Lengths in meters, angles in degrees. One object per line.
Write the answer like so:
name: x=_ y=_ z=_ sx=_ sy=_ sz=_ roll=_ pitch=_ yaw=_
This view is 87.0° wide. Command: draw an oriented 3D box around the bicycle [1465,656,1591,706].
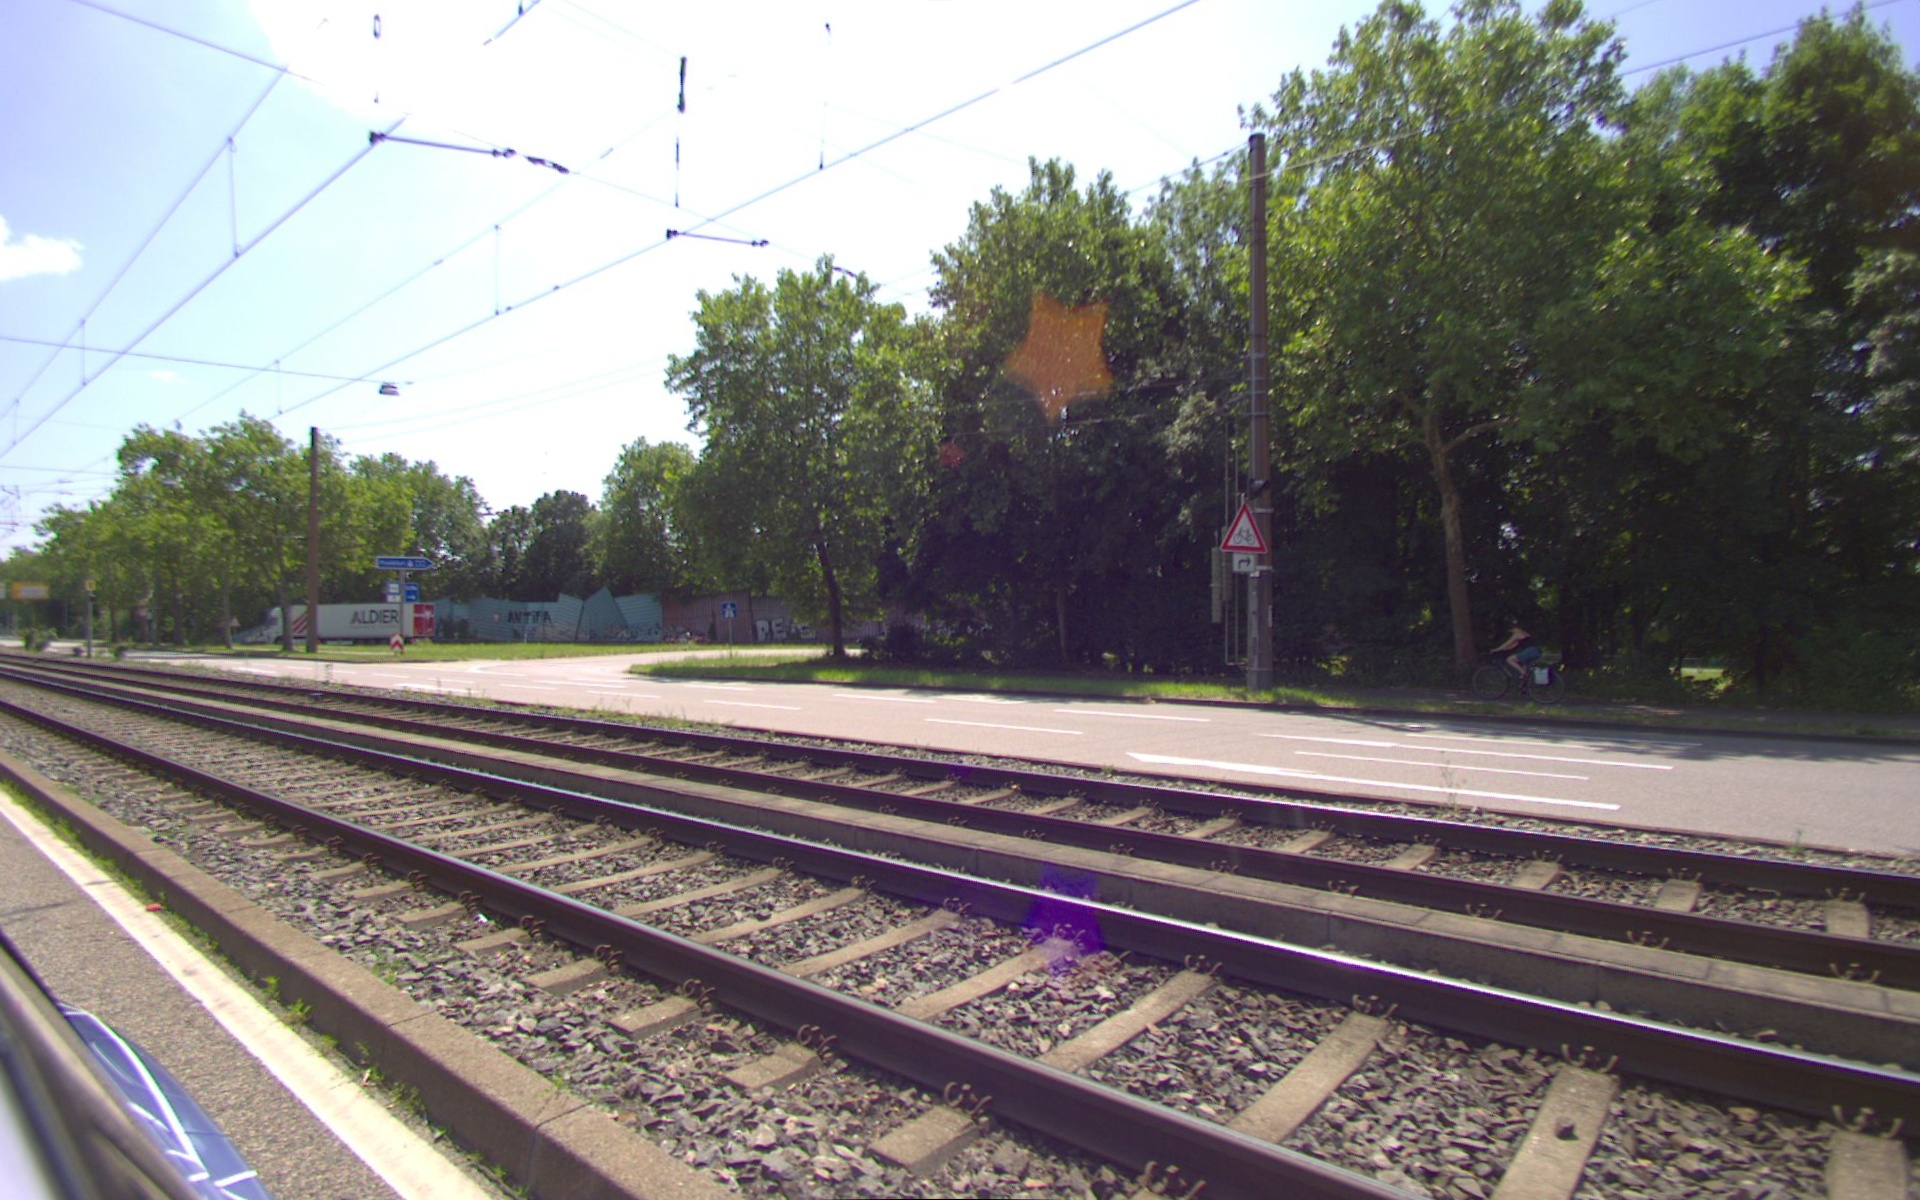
bicycle: x=11.118 y=1.564 z=19.863 sx=2.068 sy=0.825 sz=0.580 roll=0 pitch=1 yaw=43

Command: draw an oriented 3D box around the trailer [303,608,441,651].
trailer: x=-53.293 y=2.705 z=91.756 sx=11.995 sy=3.683 sz=3.372 roll=-1 pitch=-2 yaw=15

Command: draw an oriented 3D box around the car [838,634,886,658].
car: x=-7.564 y=3.573 z=78.372 sx=3.368 sy=1.806 sz=1.557 roll=-1 pitch=-2 yaw=15

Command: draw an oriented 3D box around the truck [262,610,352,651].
truck: x=-60.419 y=2.857 z=93.659 sx=6.695 sy=3.730 sz=3.403 roll=-1 pitch=-2 yaw=14

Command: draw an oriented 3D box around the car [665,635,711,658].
car: x=-22.158 y=3.766 z=82.435 sx=3.368 sy=1.806 sz=1.557 roll=-1 pitch=-2 yaw=15

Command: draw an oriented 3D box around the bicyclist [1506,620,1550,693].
bicyclist: x=11.136 y=1.096 z=19.845 sx=0.631 sy=1.378 sz=0.562 roll=0 pitch=1 yaw=42
